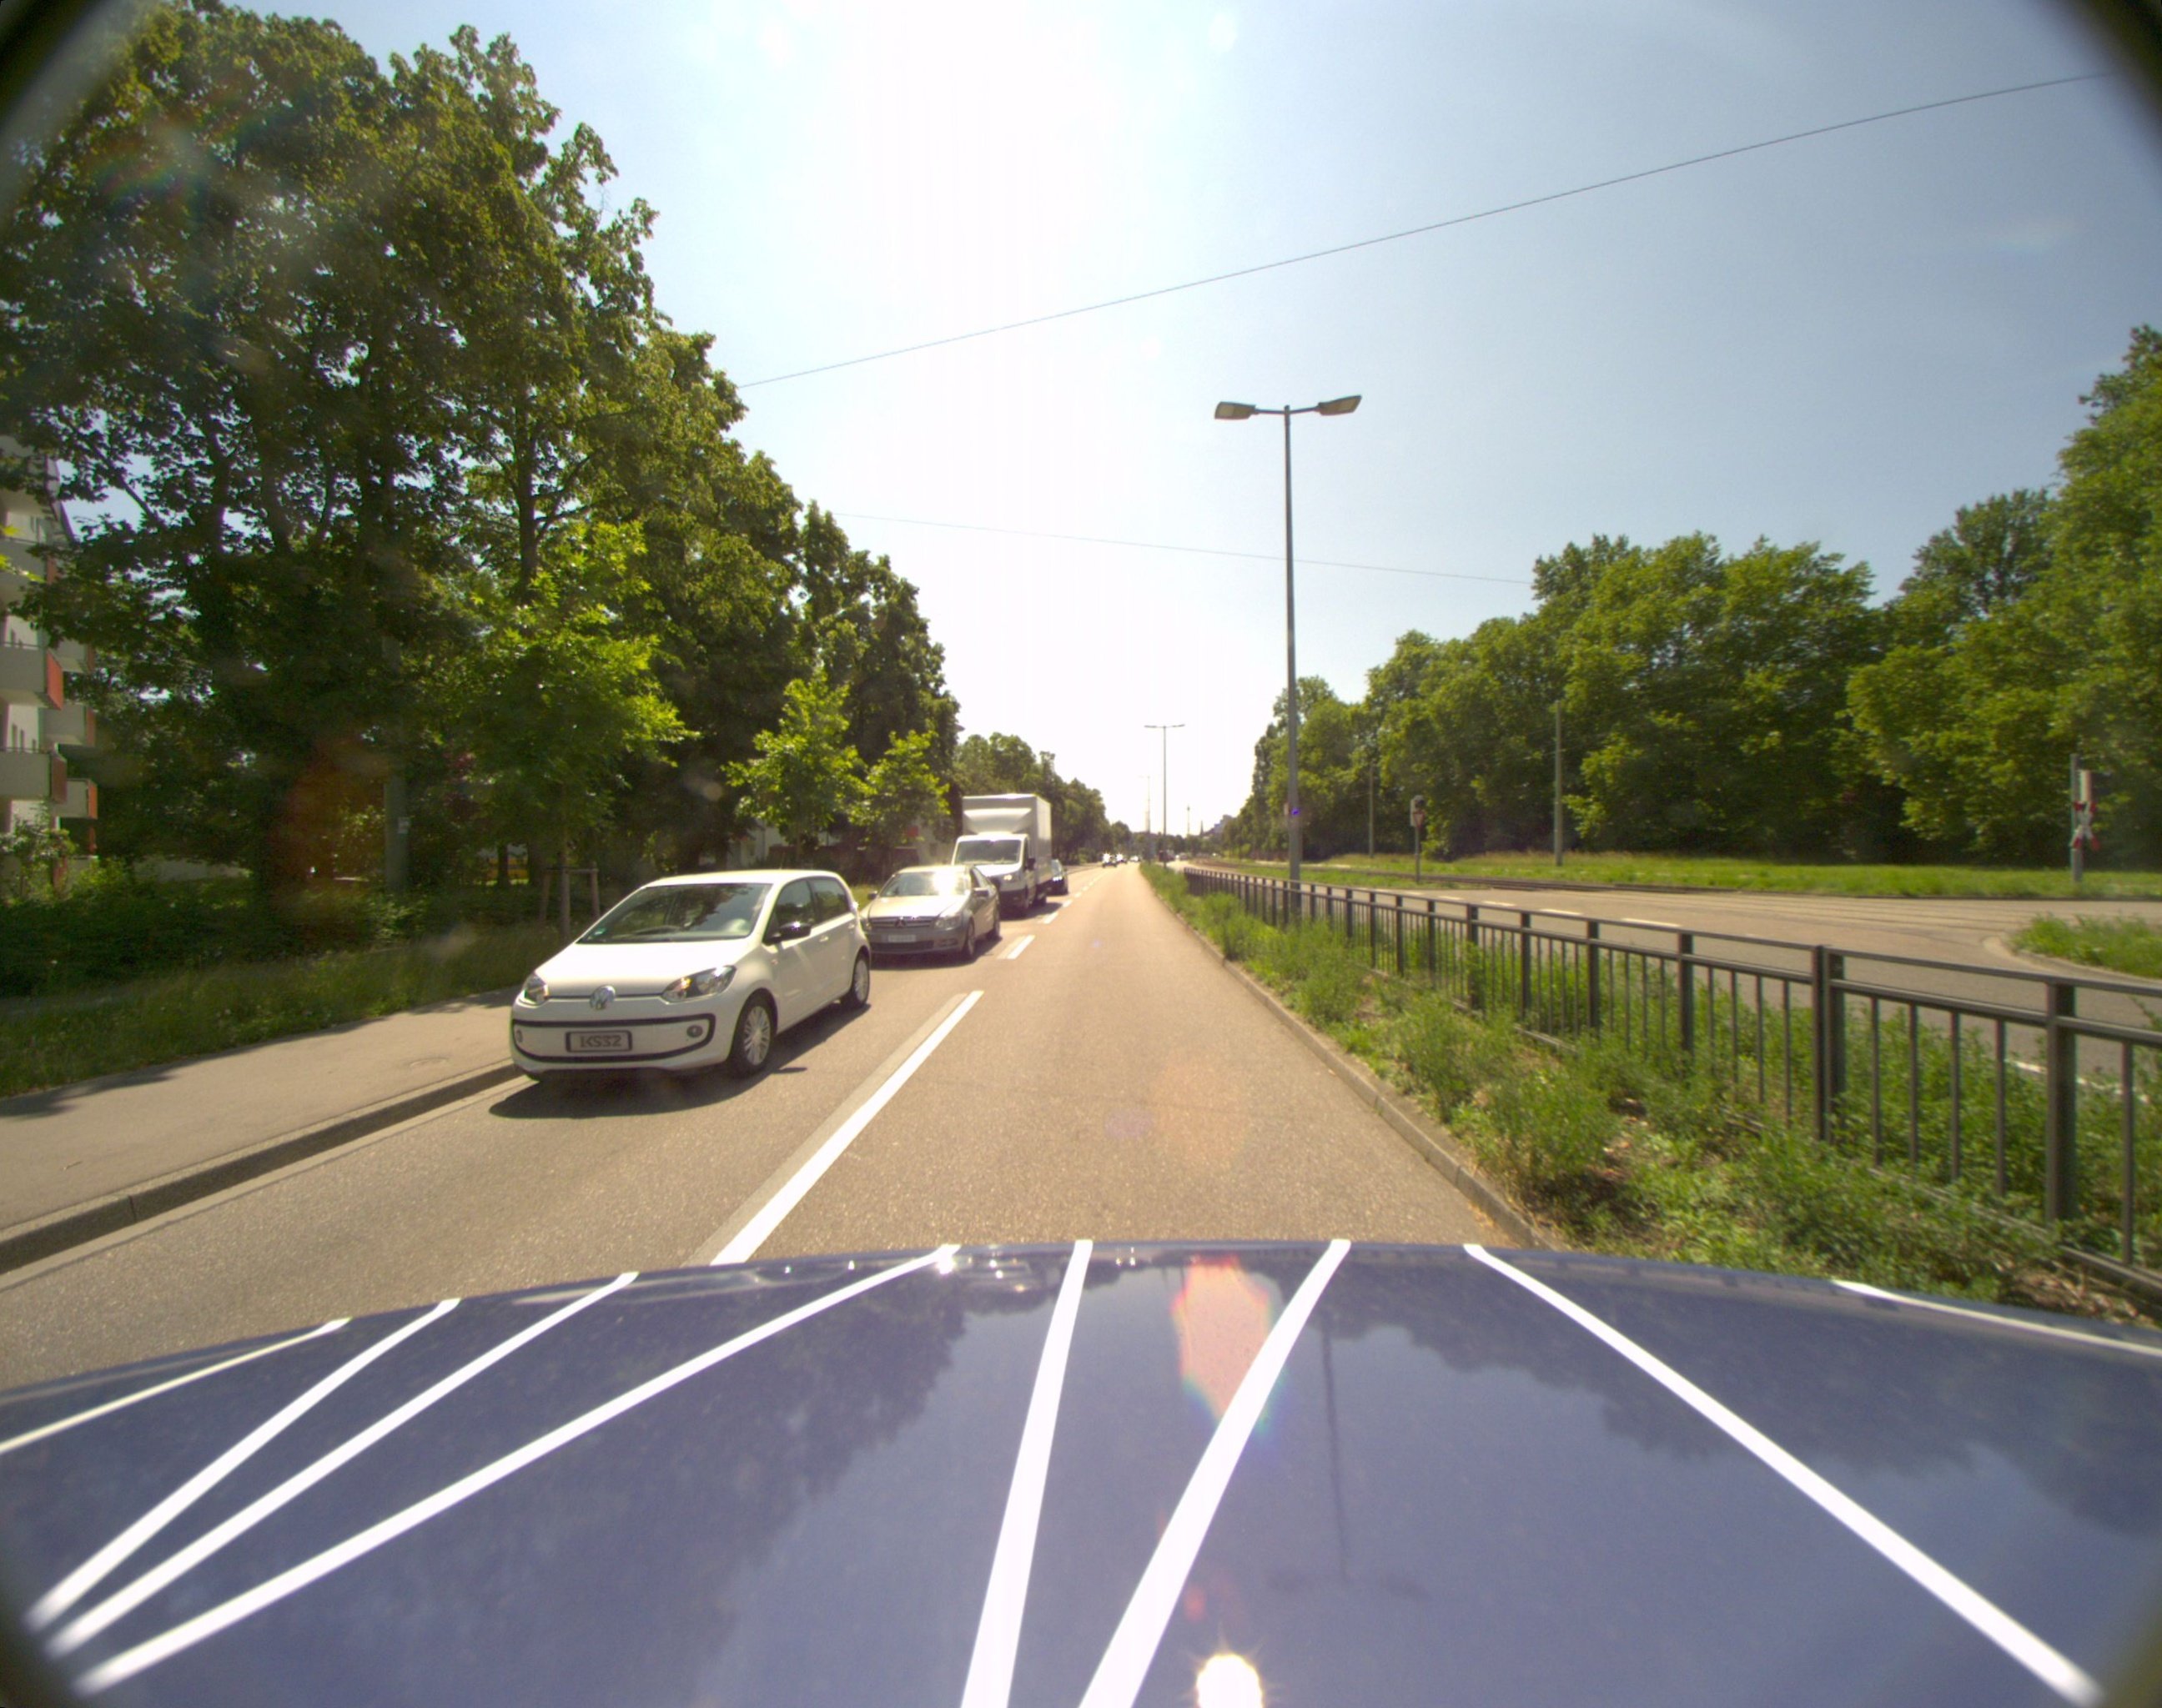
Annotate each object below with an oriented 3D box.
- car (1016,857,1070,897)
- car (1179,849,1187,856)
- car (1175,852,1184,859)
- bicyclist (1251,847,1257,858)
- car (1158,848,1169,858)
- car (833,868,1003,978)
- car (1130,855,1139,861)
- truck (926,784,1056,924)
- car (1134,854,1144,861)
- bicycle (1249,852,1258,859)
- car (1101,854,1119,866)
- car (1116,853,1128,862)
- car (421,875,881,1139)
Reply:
[{"bbox_3d":[-1.505,0.914,31.519,1.998,1.499,4.000,-1,0,1],"label":"car"},{"bbox_3d":[26.911,-0.441,200.663,1.998,1.847,4.001,-1,0,5],"label":"car"},{"bbox_3d":[26.851,0.303,207.233,1.998,1.847,4.001,-1,0,5],"label":"car"},{"bbox_3d":[29.316,-0.253,128.787,0.862,1.796,1.118,-1,1,1],"label":"bicyclist"},{"bbox_3d":[16.754,-0.221,154.174,1.997,1.847,4.002,-1,0,7],"label":"car"},{"bbox_3d":[-2.465,0.986,12.536,1.840,1.400,4.087,-1,0,1],"label":"car"},{"bbox_3d":[13.058,0.910,185.699,1.951,1.499,4.002,-1,0,7],"label":"car"},{"bbox_3d":[-2.289,-0.008,22.275,2.433,3.326,7.923,-1,0,3],"label":"truck"},{"bbox_3d":[12.981,0.746,170.286,1.997,1.499,4.002,-1,0,7],"label":"car"},{"bbox_3d":[29.301,0.287,128.850,0.862,1.155,2.787,-1,0,1],"label":"bicycle"},{"bbox_3d":[3.902,0.807,101.320,1.997,1.499,4.002,-1,0,7],"label":"car"},{"bbox_3d":[7.399,0.660,137.546,1.997,1.499,4.002,-1,0,7],"label":"car"},{"bbox_3d":[-3.117,0.989,6.515,1.730,1.470,3.771,-1,0,1],"label":"car"}]
